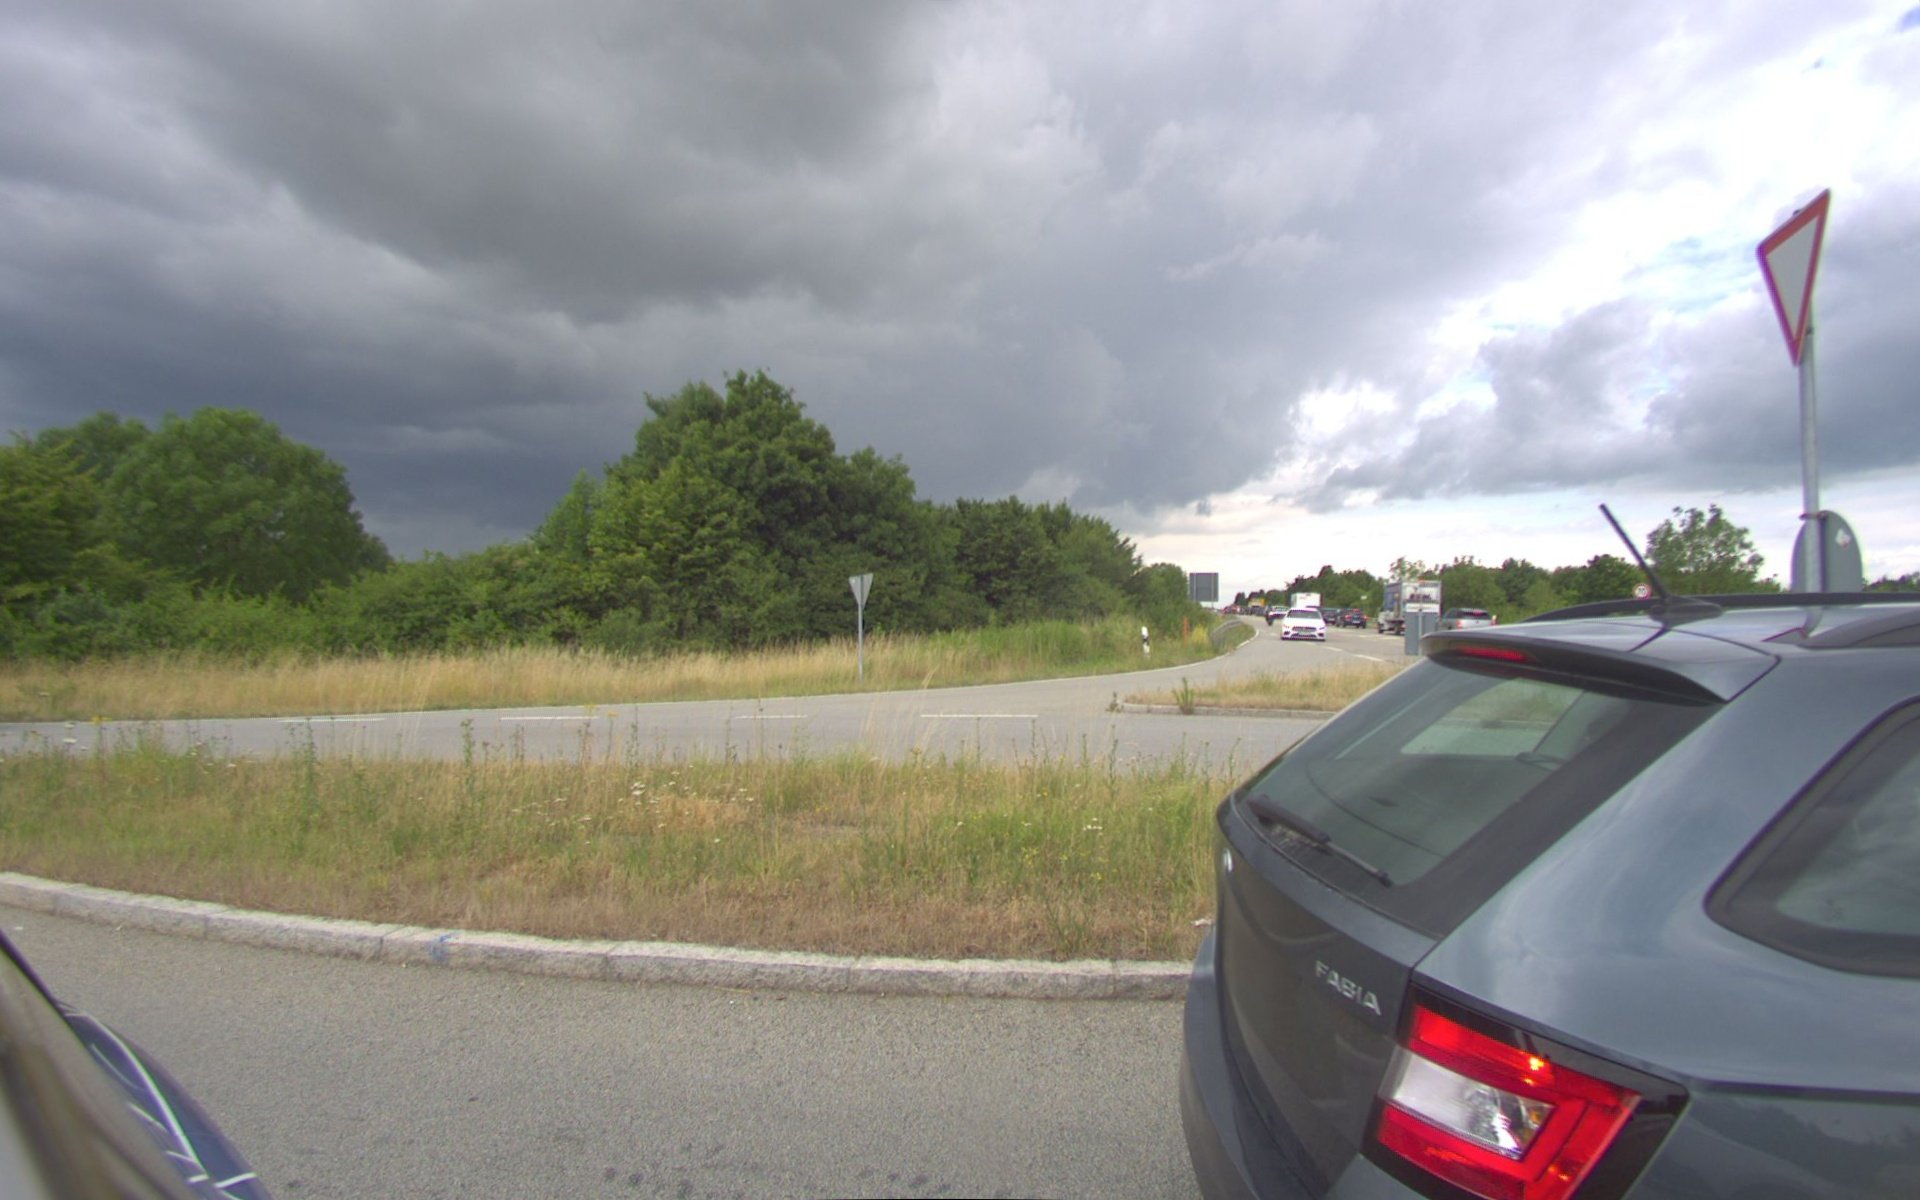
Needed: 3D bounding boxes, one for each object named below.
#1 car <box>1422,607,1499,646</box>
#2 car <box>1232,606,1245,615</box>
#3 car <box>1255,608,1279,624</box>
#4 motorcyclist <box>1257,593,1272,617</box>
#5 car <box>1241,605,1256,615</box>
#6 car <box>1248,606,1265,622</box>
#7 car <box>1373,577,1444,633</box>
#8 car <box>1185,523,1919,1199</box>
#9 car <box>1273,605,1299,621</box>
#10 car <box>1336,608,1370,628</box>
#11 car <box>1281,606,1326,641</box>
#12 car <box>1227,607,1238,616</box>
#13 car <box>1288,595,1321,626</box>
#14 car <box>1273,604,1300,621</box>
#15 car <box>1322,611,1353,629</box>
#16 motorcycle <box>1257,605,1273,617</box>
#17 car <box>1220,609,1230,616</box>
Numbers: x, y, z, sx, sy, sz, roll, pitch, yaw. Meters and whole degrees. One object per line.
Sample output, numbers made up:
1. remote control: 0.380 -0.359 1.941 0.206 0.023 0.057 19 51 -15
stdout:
1. car: 23.014 1.198 46.724 1.978 1.636 4.248 3 -1 10
2. car: 47.687 1.765 173.201 1.778 1.564 3.986 0 -1 11
3. car: 38.575 2.006 127.329 2.316 1.936 4.858 0 -1 11
4. motorcyclist: 22.918 0.366 76.124 0.934 1.763 1.196 0 -1 11
5. car: 44.408 1.566 155.863 1.778 1.564 3.987 0 -1 10
6. car: 40.550 1.930 138.329 1.778 2.029 3.987 0 -1 10
7. car: 26.395 0.349 59.807 2.316 3.052 6.534 2 -1 11
8. car: 2.545 0.656 1.590 4.065 1.458 1.716 0 0 5
9. car: 38.628 1.568 119.985 2.316 1.936 4.859 0 -1 11
10. car: 30.731 1.448 79.199 1.829 1.537 3.985 0 -1 12
11. car: 14.811 1.006 43.746 1.758 1.462 4.365 0 -1 18
12. car: 51.479 2.165 191.189 1.778 1.564 3.986 0 -1 11
13. car: 35.573 1.121 104.733 2.316 3.052 6.535 0 -1 11
14. car: 37.007 1.431 114.698 2.316 1.936 4.858 0 -1 11
15. car: 32.858 1.721 88.189 1.829 1.537 3.986 0 -1 11
16. motorcycle: 22.920 0.813 76.149 0.934 0.896 2.138 0 -1 11
17. car: 55.208 2.628 210.955 1.778 1.564 3.986 0 -1 11
